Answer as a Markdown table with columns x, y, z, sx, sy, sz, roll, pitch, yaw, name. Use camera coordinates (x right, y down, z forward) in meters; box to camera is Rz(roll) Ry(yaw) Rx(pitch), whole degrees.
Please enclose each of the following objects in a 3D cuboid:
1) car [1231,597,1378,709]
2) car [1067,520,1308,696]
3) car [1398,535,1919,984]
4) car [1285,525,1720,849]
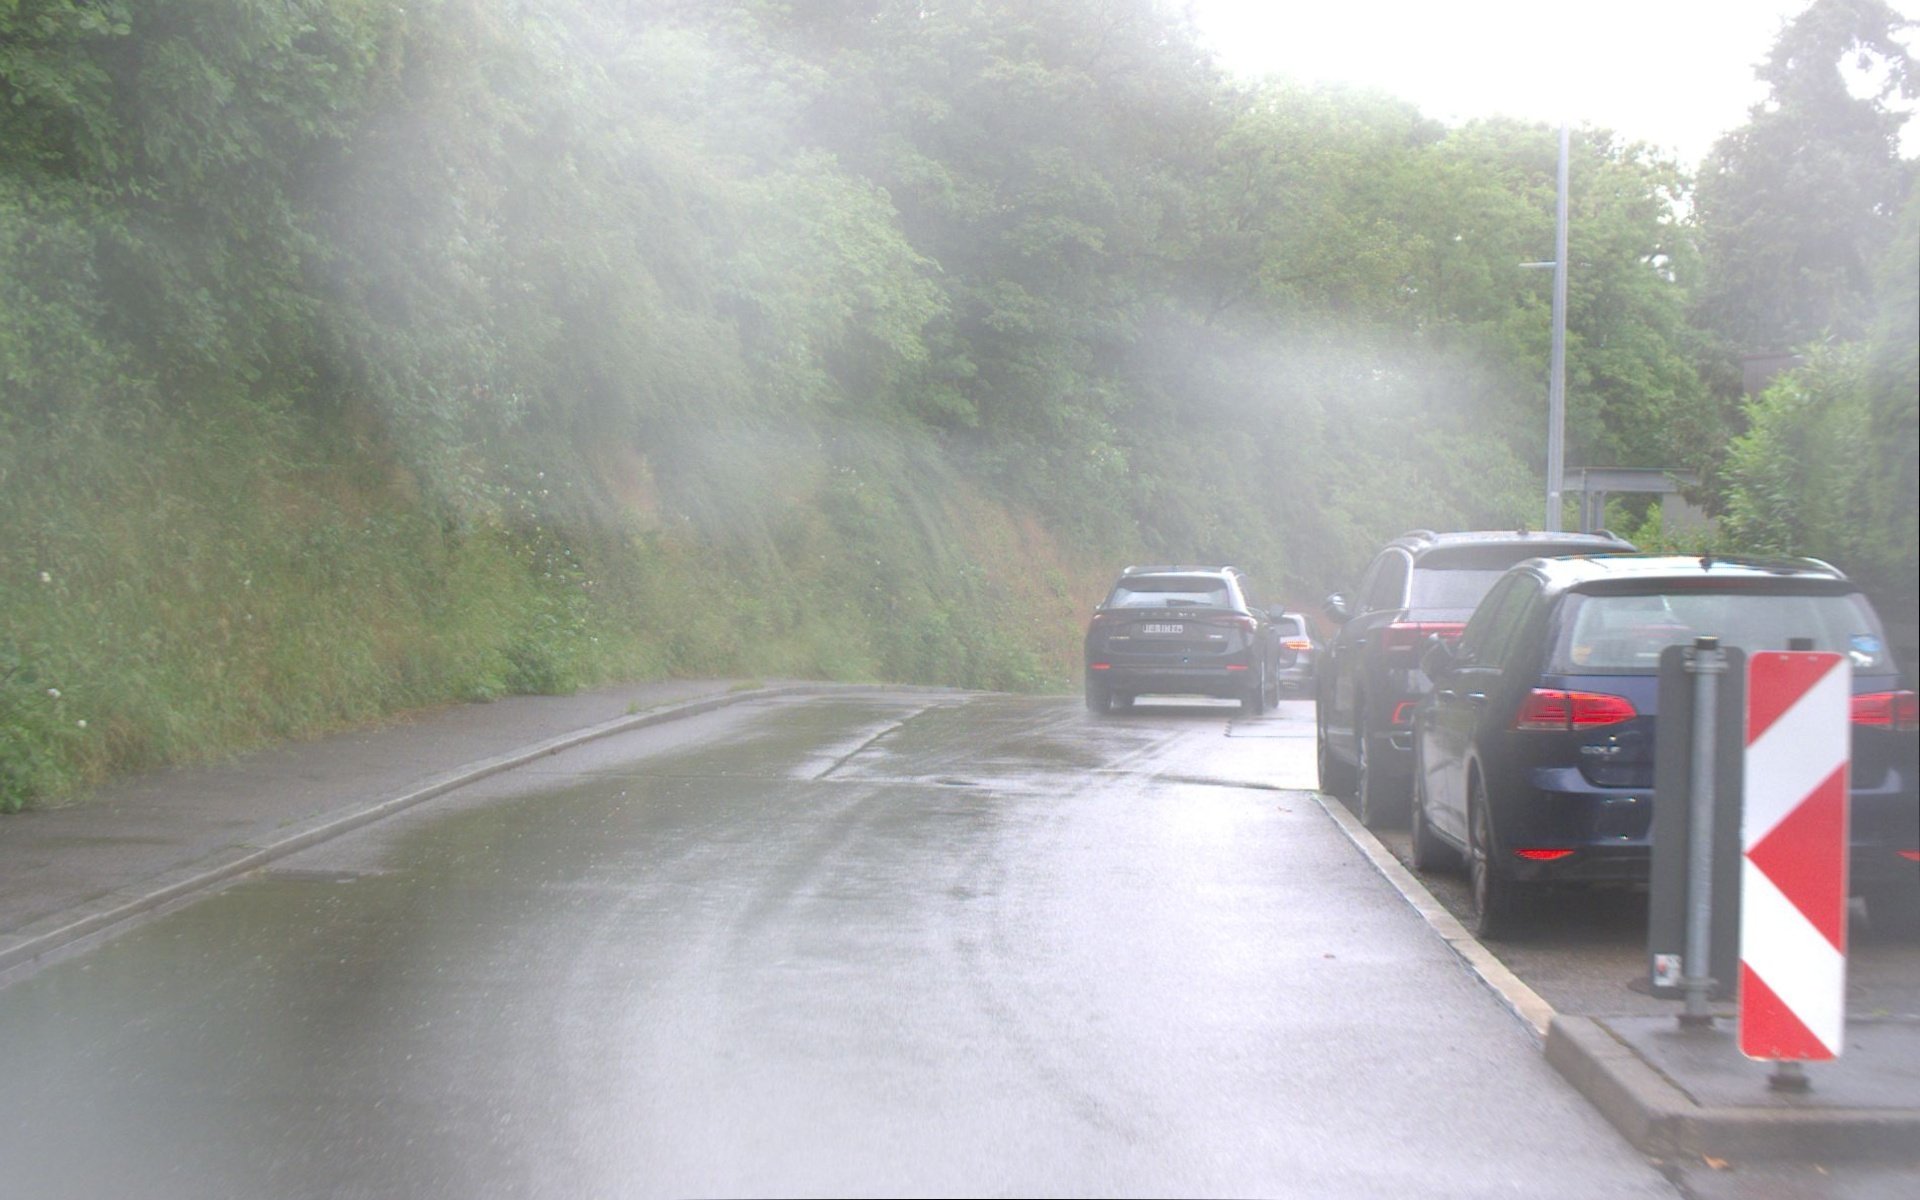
| x | y | z | sx | sy | sz | roll | pitch | yaw | name |
| --- | --- | --- | --- | --- | --- | --- | --- | --- | --- |
| 5.623 | 0.825 | 55.719 | 1.994 | 1.600 | 4.407 | 2 | 2 | 10 | car |
| 2.354 | 0.127 | 34.531 | 1.869 | 1.507 | 4.090 | 3 | -2 | 11 | car |
| 2.853 | 0.503 | 13.753 | 1.756 | 1.457 | 4.301 | 1 | 1 | 2 | car |
| 2.928 | 0.387 | 19.475 | 1.875 | 1.586 | 4.479 | 1 | 1 | 2 | car |
